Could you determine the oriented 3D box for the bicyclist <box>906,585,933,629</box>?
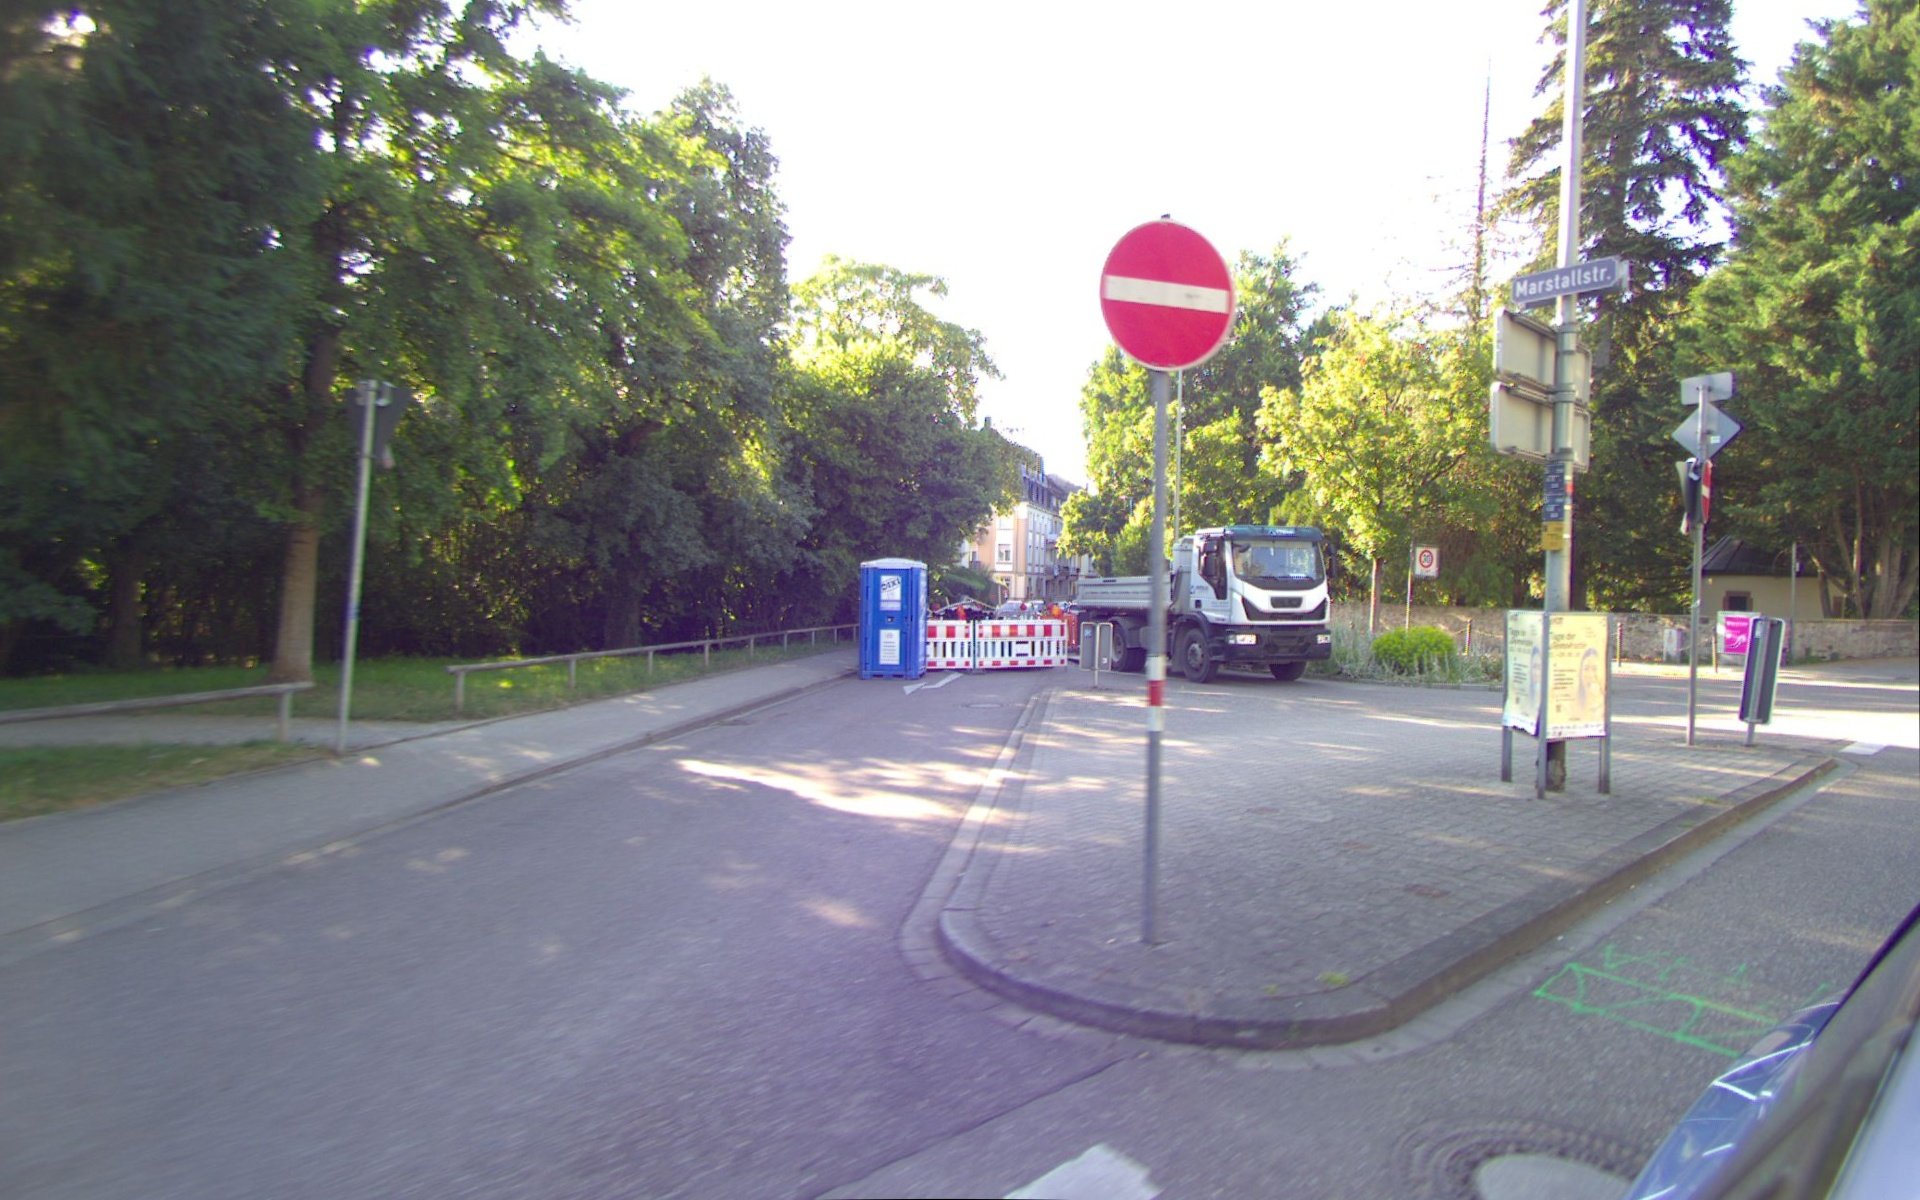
[{"bbox_3d":[-1.468,0.259,36.486,0.748,1.503,0.642,5,0,8],"label":"bicyclist"}]

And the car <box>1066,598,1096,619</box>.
[{"bbox_3d":[8.988,0.605,75.228,1.804,1.542,3.913,0,0,1],"label":"car"}]

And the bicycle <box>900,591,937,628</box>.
[{"bbox_3d":[-1.480,0.341,36.496,0.751,1.222,2.835,5,1,8],"label":"bicycle"}]

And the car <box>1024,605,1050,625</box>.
[{"bbox_3d":[6.179,1.183,81.072,1.726,1.429,3.587,1,0,10],"label":"car"}]

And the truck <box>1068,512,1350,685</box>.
[{"bbox_3d":[4.686,-0.014,20.599,2.382,2.932,6.622,1,0,-19],"label":"truck"}]

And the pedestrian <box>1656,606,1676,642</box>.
[{"bbox_3d":[35.378,1.200,50.727,0.585,1.752,0.592,0,-1,-22],"label":"pedestrian"}]
